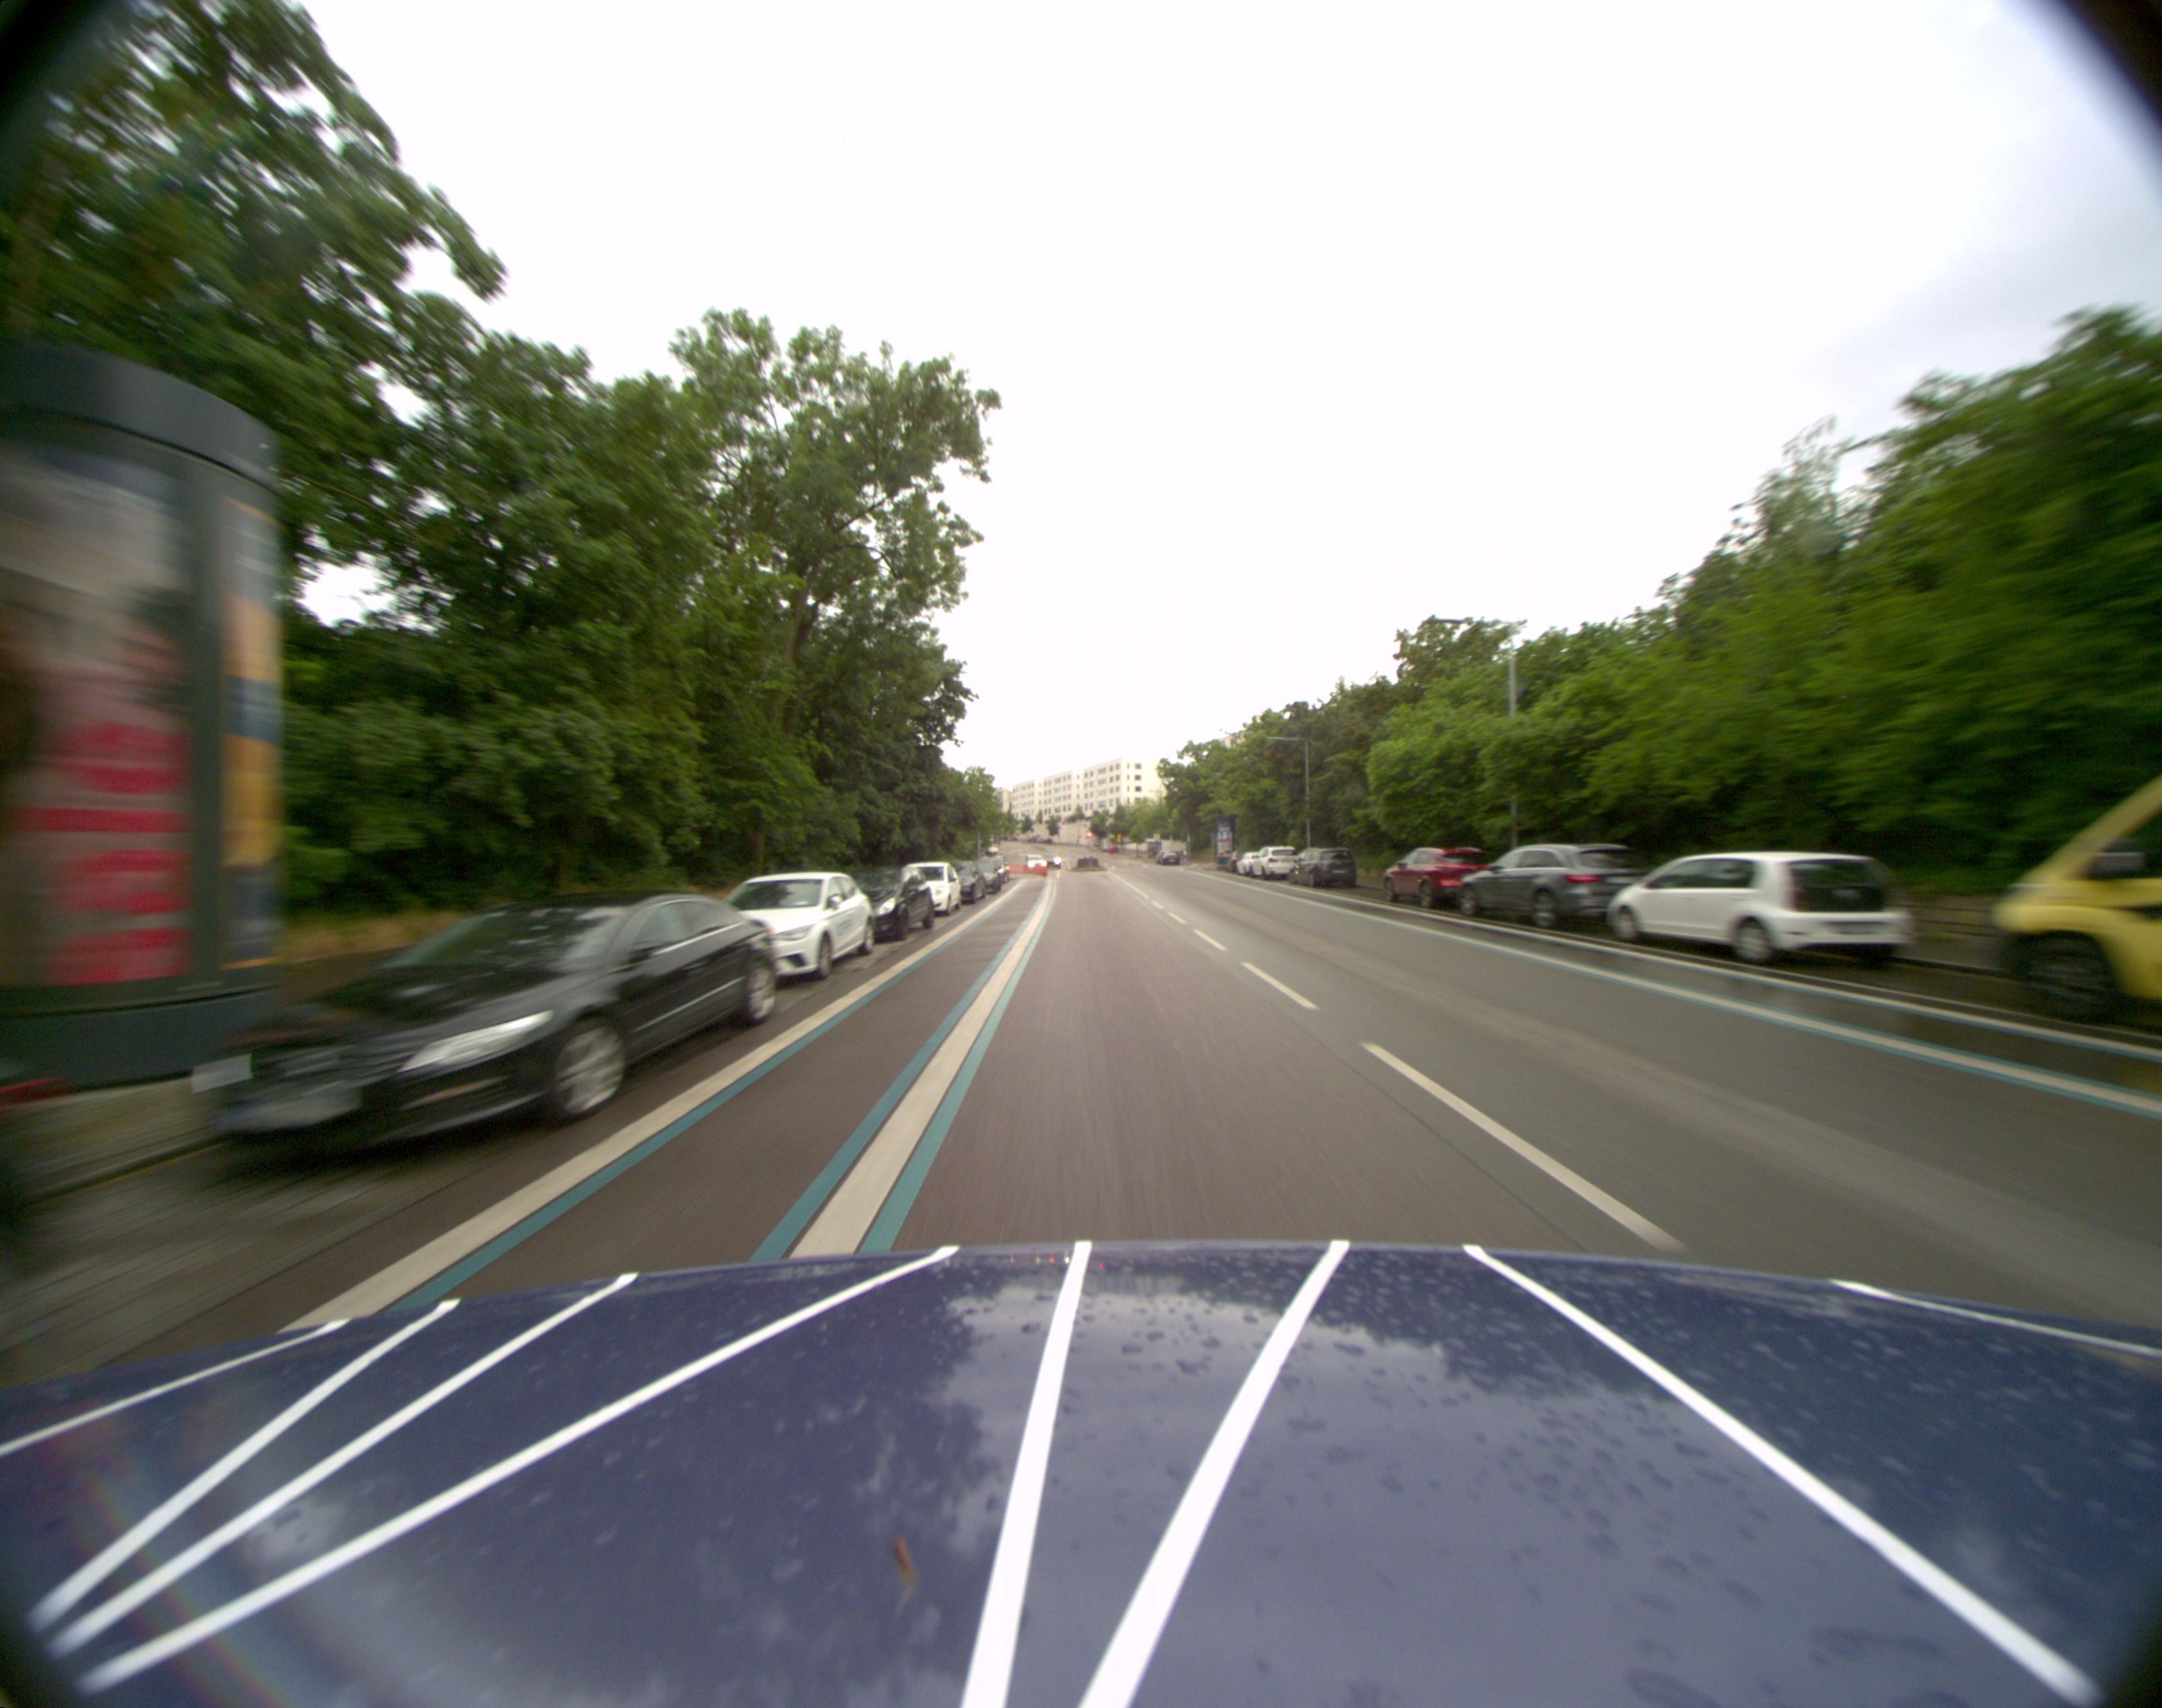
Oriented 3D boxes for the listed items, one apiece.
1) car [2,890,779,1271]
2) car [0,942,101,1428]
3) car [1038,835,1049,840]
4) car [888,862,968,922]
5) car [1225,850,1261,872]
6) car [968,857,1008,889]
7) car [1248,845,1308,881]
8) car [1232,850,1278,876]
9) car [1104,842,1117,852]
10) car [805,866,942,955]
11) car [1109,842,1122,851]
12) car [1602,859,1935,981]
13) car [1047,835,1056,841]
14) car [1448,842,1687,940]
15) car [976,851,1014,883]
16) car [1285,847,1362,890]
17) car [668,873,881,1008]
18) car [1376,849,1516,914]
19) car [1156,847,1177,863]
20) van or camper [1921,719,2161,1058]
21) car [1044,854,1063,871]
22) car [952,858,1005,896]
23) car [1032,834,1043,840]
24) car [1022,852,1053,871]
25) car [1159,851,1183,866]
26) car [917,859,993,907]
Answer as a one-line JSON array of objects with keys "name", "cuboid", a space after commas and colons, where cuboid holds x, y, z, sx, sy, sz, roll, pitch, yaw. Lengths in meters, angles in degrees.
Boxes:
[{"name": "car", "cuboid": [-4.011, 1.137, 5.689, 1.756, 1.385, 4.444, -3, 1, -2]}, {"name": "car", "cuboid": [-4.249, 1.099, 0.454, 1.827, 1.477, 4.199, -3, 0, -1]}, {"name": "car", "cuboid": [-10.774, -4.821, 218.408, 1.866, 1.470, 3.990, -2, 3, -24]}, {"name": "car", "cuboid": [-4.289, 1.011, 21.739, 1.564, 1.452, 3.675, -2, 1, -1]}, {"name": "car", "cuboid": [11.102, 0.450, 52.404, 1.753, 1.437, 4.587, -2, 0, 4]}, {"name": "car", "cuboid": [-4.671, 0.932, 38.570, 1.701, 1.405, 3.702, -3, 1, -3]}, {"name": "car", "cuboid": [10.488, 0.407, 40.916, 1.998, 1.755, 4.960, -2, 1, 1]}, {"name": "car", "cuboid": [10.640, 0.529, 46.769, 1.723, 1.452, 4.708, -1, 0, 1]}, {"name": "car", "cuboid": [5.705, -1.360, 148.997, 1.769, 1.644, 4.878, -3, 3, -7]}, {"name": "car", "cuboid": [-4.204, 1.079, 16.020, 1.663, 1.456, 3.900, -4, 0, 1]}, {"name": "car", "cuboid": [6.469, -1.481, 142.709, 1.670, 1.578, 4.212, -1, 3, -7]}, {"name": "car", "cuboid": [9.600, 0.816, 11.057, 1.621, 1.440, 3.657, 0, 0, 2]}, {"name": "car", "cuboid": [-8.358, -4.474, 213.018, 1.683, 1.451, 2.689, -1, 3, -25]}, {"name": "car", "cuboid": [9.779, 0.654, 15.828, 1.998, 1.690, 4.615, -1, 0, 0]}, {"name": "car", "cuboid": [-4.896, 0.688, 43.606, 1.827, 1.605, 4.250, -3, 1, -3]}, {"name": "car", "cuboid": [10.372, 0.569, 32.858, 1.736, 1.639, 4.570, -2, 1, -2]}, {"name": "car", "cuboid": [-4.276, 1.106, 11.312, 1.622, 1.458, 3.999, -3, 1, -2]}, {"name": "car", "cuboid": [10.057, 0.672, 21.381, 1.923, 1.607, 4.490, -1, 1, 2]}, {"name": "car", "cuboid": [9.794, 0.064, 87.325, 1.845, 1.580, 4.927, -3, 1, 1]}, {"name": "van or camper", "cuboid": [9.359, 0.254, 4.726, 2.148, 2.612, 5.683, -1, 0, 3]}, {"name": "car", "cuboid": [-2.991, 0.877, 82.276, 1.830, 1.584, 3.997, -3, 1, -5]}, {"name": "car", "cuboid": [-4.398, 0.949, 33.169, 1.858, 1.391, 4.383, -3, 1, -3]}, {"name": "car", "cuboid": [-12.668, -5.071, 222.450, 1.792, 1.623, 3.990, -1, 3, -24]}, {"name": "car", "cuboid": [-4.123, 0.671, 71.555, 1.930, 1.652, 3.994, -2, 0, -17]}, {"name": "car", "cuboid": [9.580, 0.468, 81.121, 1.911, 1.406, 4.782, -3, 1, 1]}, {"name": "car", "cuboid": [-4.387, 0.962, 27.223, 1.861, 1.447, 4.750, -2, 0, 0]}]
